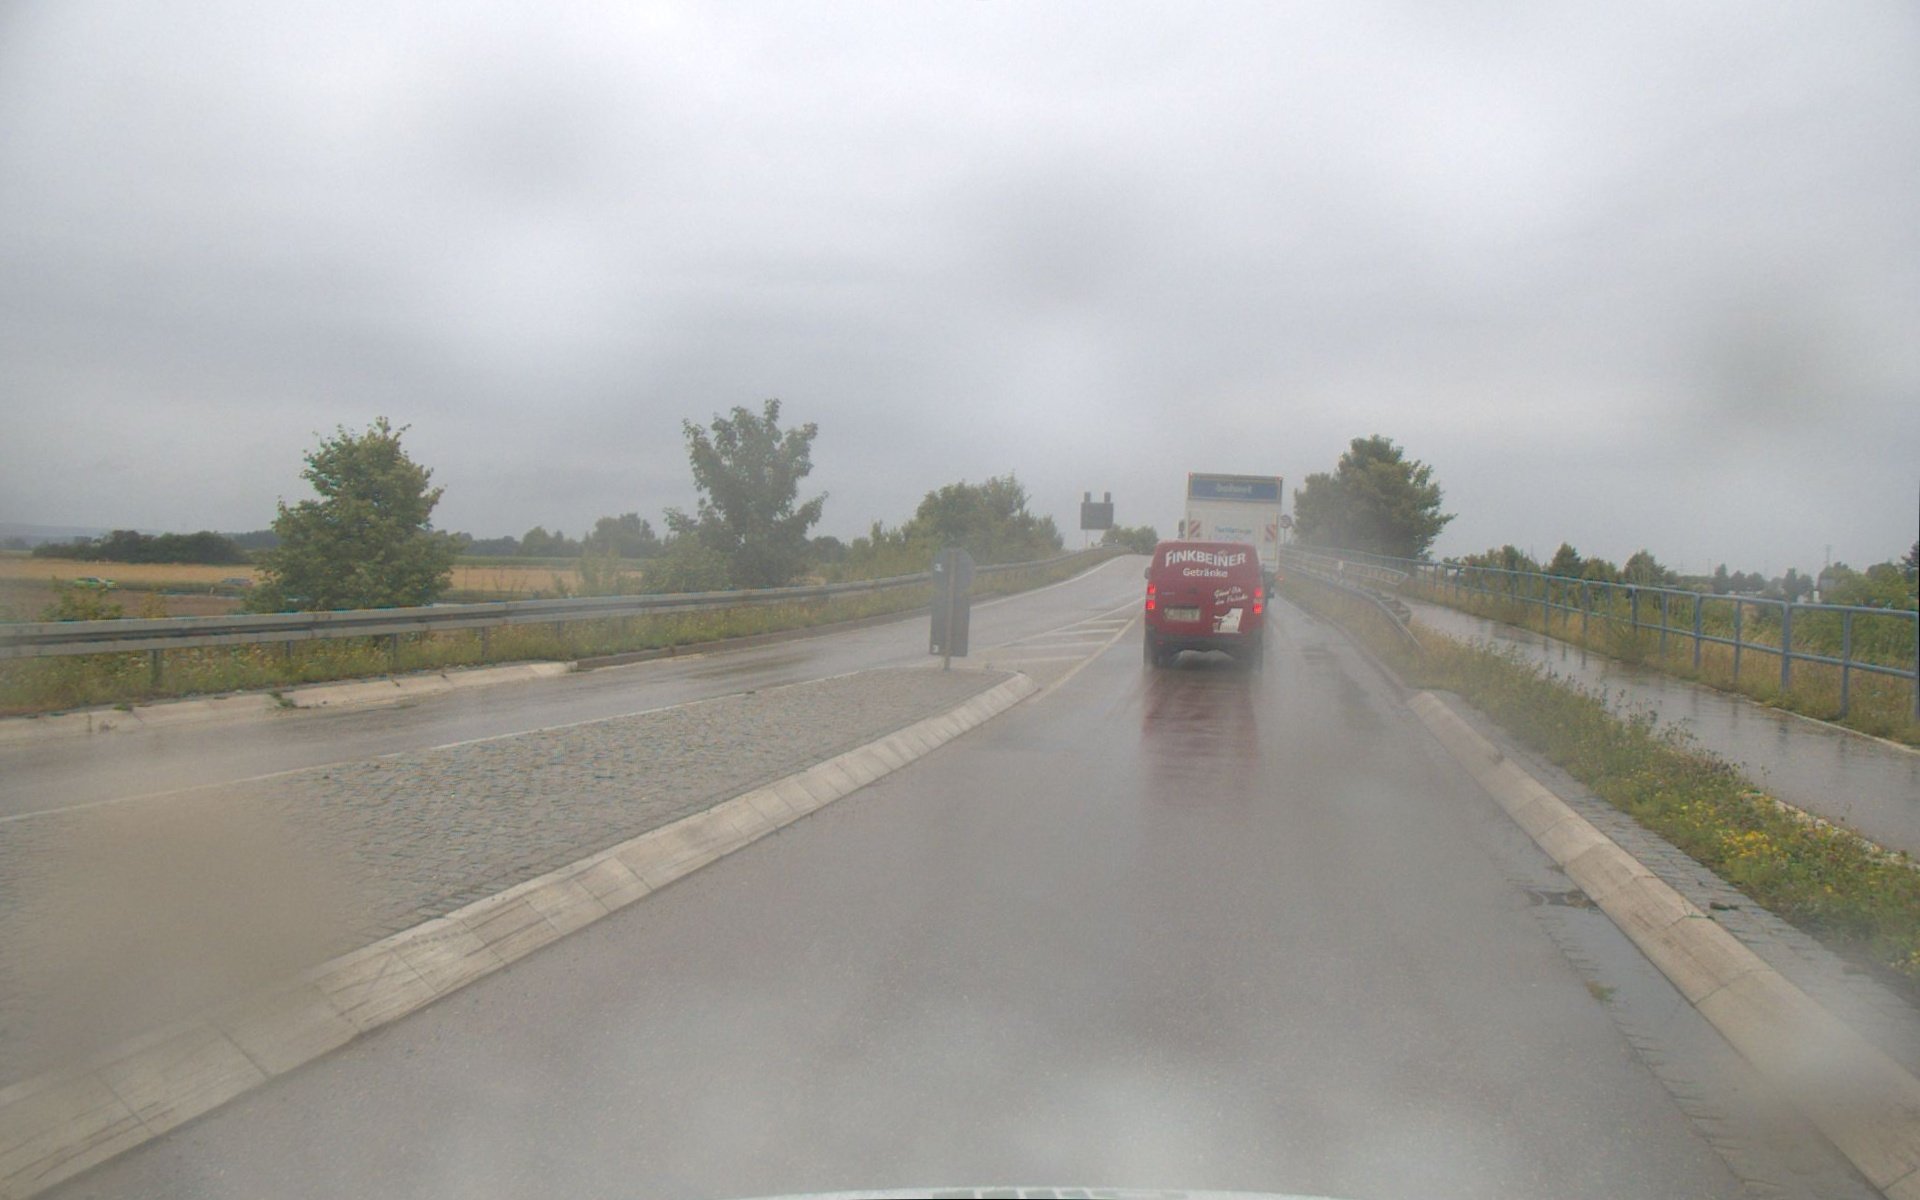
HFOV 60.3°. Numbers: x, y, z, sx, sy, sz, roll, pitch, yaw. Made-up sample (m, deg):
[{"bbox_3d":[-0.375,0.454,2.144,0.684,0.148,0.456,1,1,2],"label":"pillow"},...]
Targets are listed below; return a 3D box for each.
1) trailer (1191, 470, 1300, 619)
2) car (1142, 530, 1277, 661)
[{"bbox_3d":[8.304,-1.611,48.505,2.771,3.885,9.724,1,2,9],"label":"trailer"},{"bbox_3d":[4.127,-0.159,26.917,1.951,1.902,4.984,1,2,10],"label":"car"}]
